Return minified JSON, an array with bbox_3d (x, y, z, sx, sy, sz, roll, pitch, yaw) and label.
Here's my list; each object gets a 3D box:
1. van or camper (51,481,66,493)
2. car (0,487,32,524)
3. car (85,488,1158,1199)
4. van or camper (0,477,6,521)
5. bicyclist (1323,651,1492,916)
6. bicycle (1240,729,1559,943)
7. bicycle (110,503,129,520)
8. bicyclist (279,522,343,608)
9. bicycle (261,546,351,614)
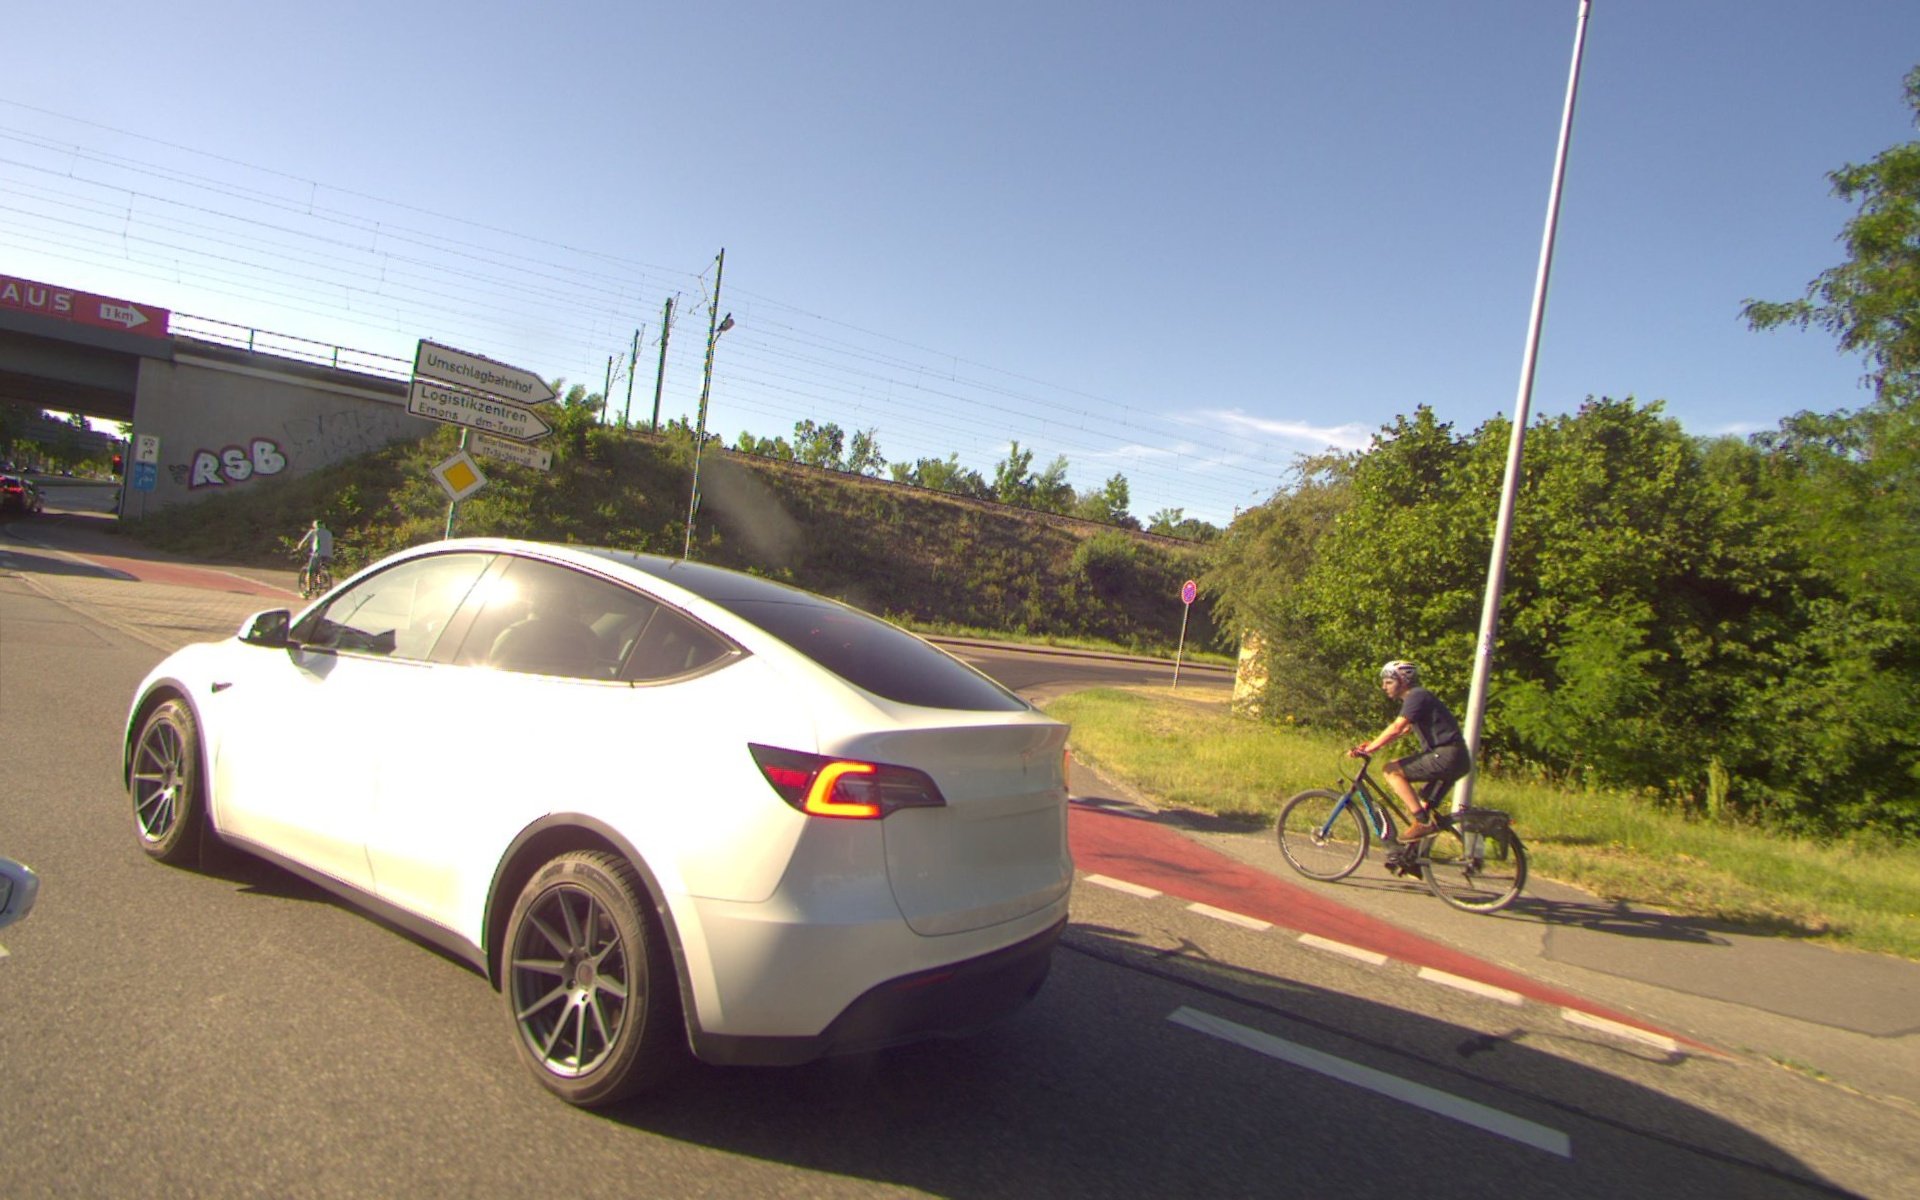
[{"bbox_3d":[-169.624,-21.214,189.357,1.776,1.888,3.866,4,1,-38],"label":"van or camper"},{"bbox_3d":[-43.597,-4.377,45.587,1.699,1.541,3.706,8,-1,-36],"label":"car"},{"bbox_3d":[-1.620,0.575,4.348,4.338,1.658,1.919,5,-4,32],"label":"car"},{"bbox_3d":[-39.847,-4.207,40.357,1.819,1.812,4.494,8,-1,-40],"label":"van or camper"},{"bbox_3d":[3.422,1.335,7.687,0.932,1.800,0.675,6,2,32],"label":"bicyclist"},{"bbox_3d":[3.334,1.725,7.731,2.083,1.109,0.695,6,2,32],"label":"bicycle"},{"bbox_3d":[-48.931,-5.167,58.578,0.768,0.905,1.975,4,1,-38],"label":"bicycle"},{"bbox_3d":[-13.453,-0.729,20.849,0.898,1.641,0.745,9,4,37],"label":"bicyclist"},{"bbox_3d":[-13.672,-0.423,20.998,2.413,1.127,0.742,9,3,37],"label":"bicycle"}]
